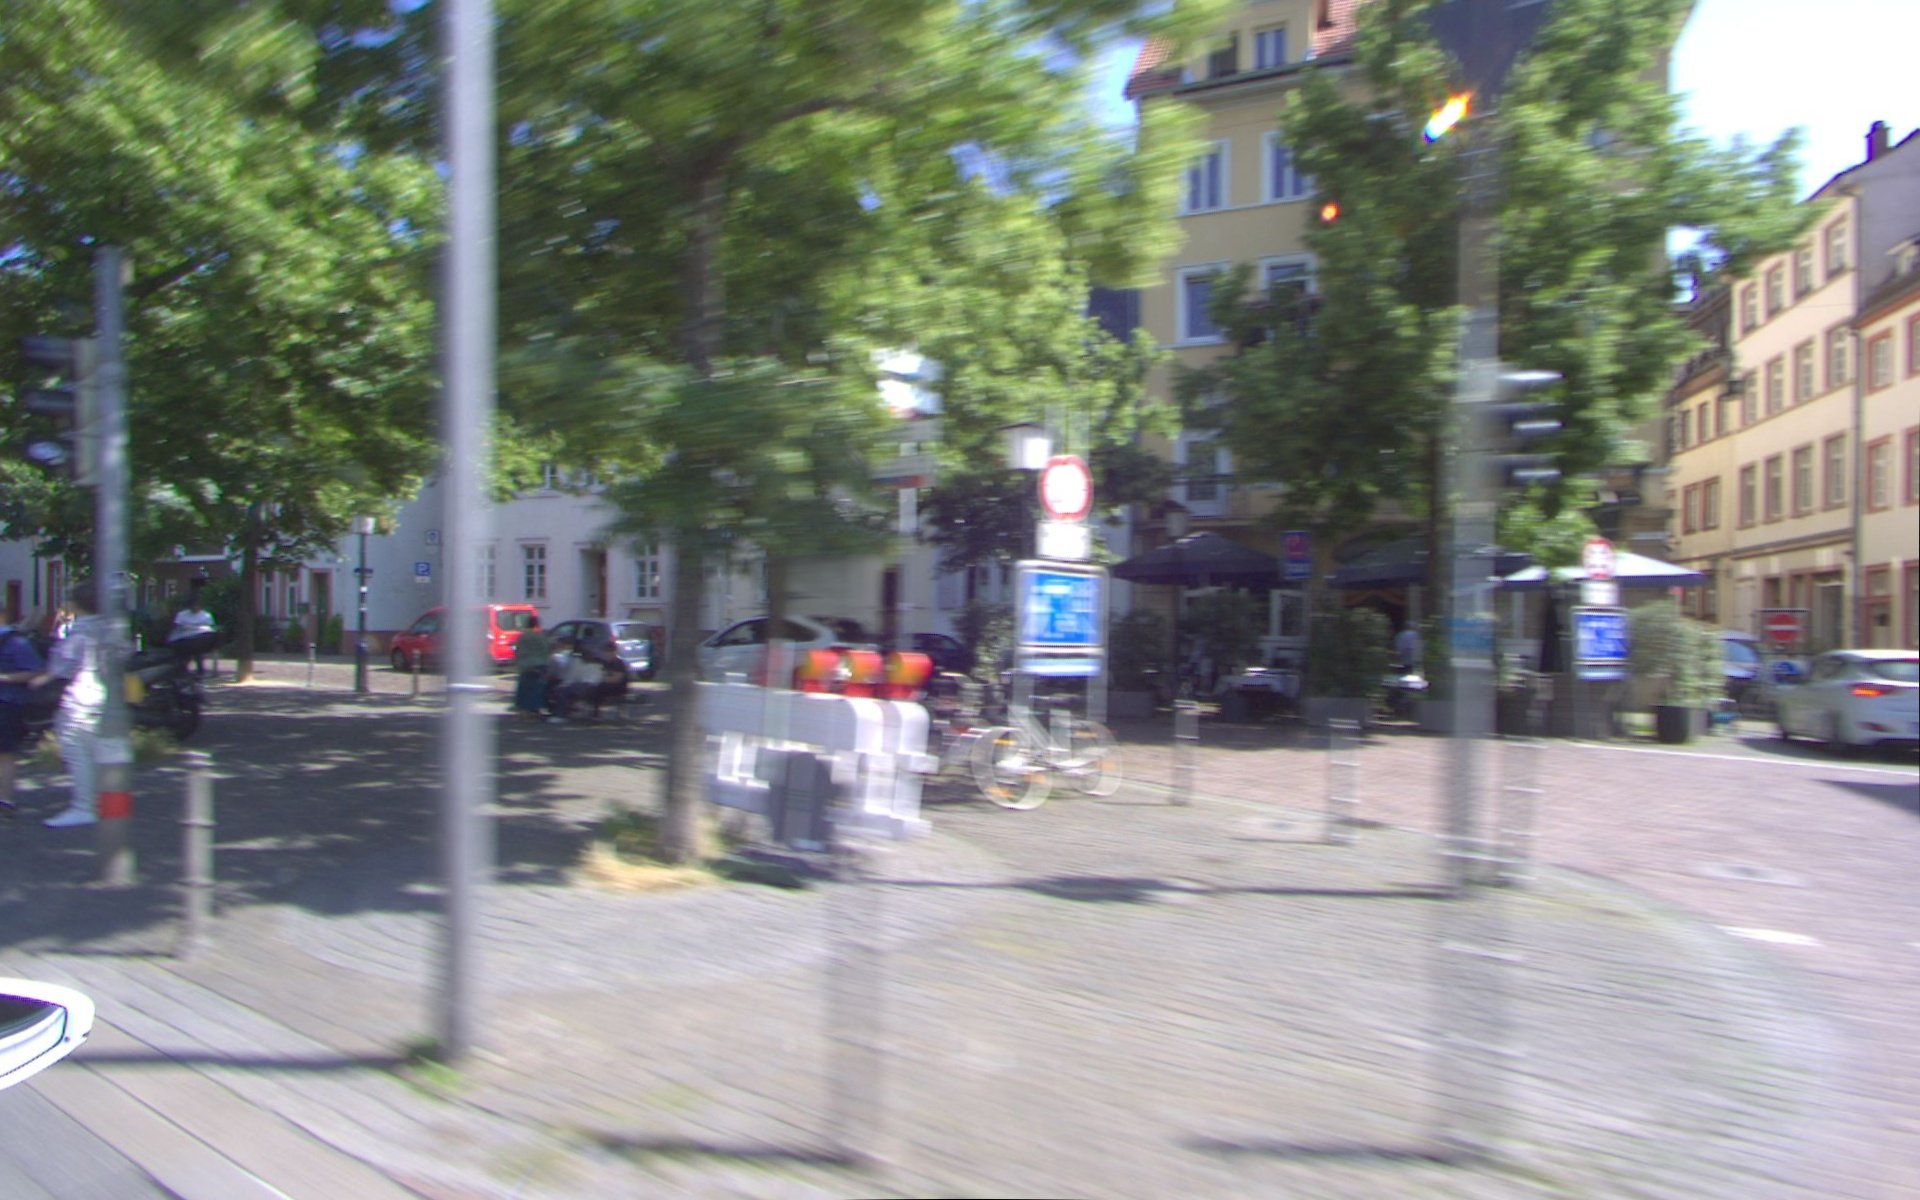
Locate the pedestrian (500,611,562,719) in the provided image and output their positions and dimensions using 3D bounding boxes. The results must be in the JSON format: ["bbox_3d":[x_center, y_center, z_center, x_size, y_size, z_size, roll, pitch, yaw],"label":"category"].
[{"bbox_3d":[-6.243,0.933,14.577,0.678,1.536,0.459,0,-2,22],"label":"pedestrian"}]

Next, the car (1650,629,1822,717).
[{"bbox_3d":[17.777,1.597,23.180,1.818,1.617,3.993,5,1,19],"label":"car"}]

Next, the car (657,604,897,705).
[{"bbox_3d":[-3.614,1.012,19.551,4.498,1.750,1.768,0,-2,29],"label":"car"}]

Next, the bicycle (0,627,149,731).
[{"bbox_3d":[-10.607,0.902,11.906,0.372,1.135,1.484,0,0,24],"label":"bicycle"}]

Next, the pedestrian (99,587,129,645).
[{"bbox_3d":[-29.690,0.566,35.147,0.634,2.040,0.634,0,0,30],"label":"pedestrian"}]

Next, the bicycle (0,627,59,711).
[{"bbox_3d":[-13.222,0.946,13.595,0.247,1.135,1.484,0,0,24],"label":"bicycle"}]

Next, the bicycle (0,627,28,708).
[{"bbox_3d":[-13.895,0.972,13.837,0.247,1.135,1.483,0,1,24],"label":"bicycle"}]

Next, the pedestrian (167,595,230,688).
[{"bbox_3d":[-14.123,0.760,18.582,0.696,1.674,0.707,0,0,30],"label":"pedestrian"}]

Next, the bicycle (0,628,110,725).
[{"bbox_3d":[-11.529,0.935,12.447,0.289,1.135,1.484,0,0,24],"label":"bicycle"}]

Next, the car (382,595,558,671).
[{"bbox_3d":[-13.365,0.860,27.283,4.560,1.927,1.993,0,-1,28],"label":"car"}]

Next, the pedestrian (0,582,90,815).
[{"bbox_3d":[-7.263,0.716,7.617,0.751,1.700,0.694,0,1,22],"label":"pedestrian"}]

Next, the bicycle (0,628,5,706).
[{"bbox_3d":[-14.450,0.968,14.089,0.247,1.147,1.484,0,-1,24],"label":"bicycle"}]

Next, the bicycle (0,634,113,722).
[{"bbox_3d":[-11.713,0.973,12.710,0.289,1.045,1.484,0,0,24],"label":"bicycle"}]

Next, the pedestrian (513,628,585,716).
[{"bbox_3d":[-6.239,1.086,15.203,0.741,1.297,0.627,0,-3,22],"label":"pedestrian"}]

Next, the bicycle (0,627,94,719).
[{"bbox_3d":[-12.158,0.936,12.946,0.247,1.135,1.484,0,0,24],"label":"bicycle"}]

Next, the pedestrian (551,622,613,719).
[{"bbox_3d":[-5.629,1.040,14.935,0.532,1.399,0.627,0,-3,22],"label":"pedestrian"}]

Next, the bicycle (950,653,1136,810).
[{"bbox_3d":[0.782,1.105,8.769,0.515,1.213,1.990,0,-3,41],"label":"bicycle"}]

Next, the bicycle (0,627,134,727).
[{"bbox_3d":[-11.010,0.909,12.189,0.289,1.135,1.484,0,0,24],"label":"bicycle"}]

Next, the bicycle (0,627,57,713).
[{"bbox_3d":[-13.053,0.944,13.376,0.247,1.135,1.484,0,0,24],"label":"bicycle"}]

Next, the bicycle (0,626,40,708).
[{"bbox_3d":[-13.634,0.949,13.743,0.247,1.135,1.483,0,1,24],"label":"bicycle"}]

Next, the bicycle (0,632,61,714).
[{"bbox_3d":[-12.856,0.974,13.228,0.247,1.060,1.484,0,0,24],"label":"bicycle"}]

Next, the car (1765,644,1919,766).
[{"bbox_3d":[12.954,1.410,14.010,1.804,1.474,3.988,2,-2,27],"label":"car"}]

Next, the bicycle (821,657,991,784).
[{"bbox_3d":[-0.593,1.151,10.080,0.589,1.081,2.047,0,-1,-41],"label":"bicycle"}]

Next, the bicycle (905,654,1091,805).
[{"bbox_3d":[0.397,1.113,9.094,0.515,1.213,2.003,0,-2,41],"label":"bicycle"}]

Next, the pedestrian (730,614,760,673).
[{"bbox_3d":[-5.885,1.179,27.432,0.530,1.582,0.570,0,-1,22],"label":"pedestrian"}]

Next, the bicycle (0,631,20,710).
[{"bbox_3d":[-14.144,1.009,13.995,0.247,1.134,1.484,0,-1,24],"label":"bicycle"}]

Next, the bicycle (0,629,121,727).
[{"bbox_3d":[-11.275,0.937,12.316,0.289,1.135,1.484,0,0,24],"label":"bicycle"}]

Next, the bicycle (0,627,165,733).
[{"bbox_3d":[-10.266,0.903,11.744,0.289,1.135,1.483,0,0,28],"label":"bicycle"}]

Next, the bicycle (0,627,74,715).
[{"bbox_3d":[-12.623,0.933,13.156,0.247,1.135,1.484,0,0,24],"label":"bicycle"}]

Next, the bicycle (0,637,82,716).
[{"bbox_3d":[-12.409,1.000,13.041,0.247,0.992,1.484,0,0,24],"label":"bicycle"}]

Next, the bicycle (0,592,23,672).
[{"bbox_3d":[-18.306,0.585,18.244,0.265,1.503,1.825,0,-1,28],"label":"bicycle"}]

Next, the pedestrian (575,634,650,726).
[{"bbox_3d":[-5.003,1.133,14.436,0.751,1.268,0.694,0,0,22],"label":"pedestrian"}]

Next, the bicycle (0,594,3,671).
[{"bbox_3d":[-19.319,0.621,18.891,0.281,1.503,1.828,0,-1,28],"label":"bicycle"}]

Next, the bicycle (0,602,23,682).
[{"bbox_3d":[-18.564,0.786,18.437,0.306,1.503,1.924,0,-1,28],"label":"bicycle"}]

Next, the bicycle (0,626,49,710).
[{"bbox_3d":[-13.425,0.944,13.671,0.247,1.135,1.484,0,0,24],"label":"bicycle"}]

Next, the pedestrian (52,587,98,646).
[{"bbox_3d":[-29.657,0.558,33.547,0.736,1.940,0.967,0,-1,30],"label":"pedestrian"}]

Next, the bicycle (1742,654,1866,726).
[{"bbox_3d":[16.805,1.774,19.990,1.734,1.296,0.657,1,1,19],"label":"bicycle"}]

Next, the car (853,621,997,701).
[{"bbox_3d":[-0.698,1.289,22.354,1.596,1.452,3.737,1,2,27],"label":"car"}]

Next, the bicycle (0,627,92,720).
[{"bbox_3d":[-11.981,0.924,12.716,0.247,1.135,1.484,0,0,24],"label":"bicycle"}]

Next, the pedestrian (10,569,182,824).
[{"bbox_3d":[-6.471,0.679,7.519,0.751,1.795,0.694,0,1,22],"label":"pedestrian"}]

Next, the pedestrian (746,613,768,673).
[{"bbox_3d":[-5.406,1.139,26.675,0.399,1.583,0.411,0,1,22],"label":"pedestrian"}]

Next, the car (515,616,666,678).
[{"bbox_3d":[-9.180,1.137,24.886,3.417,1.451,1.674,0,-1,27],"label":"car"}]

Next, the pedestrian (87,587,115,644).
[{"bbox_3d":[-31.243,0.570,36.428,0.587,2.040,0.585,0,-1,29],"label":"pedestrian"}]

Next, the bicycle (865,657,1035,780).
[{"bbox_3d":[-0.155,1.161,10.361,0.589,1.081,2.047,0,-1,-41],"label":"bicycle"}]

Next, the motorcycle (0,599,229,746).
[{"bbox_3d":[-9.321,0.744,10.721,2.259,1.484,0.762,-1,0,-20],"label":"motorcycle"}]
